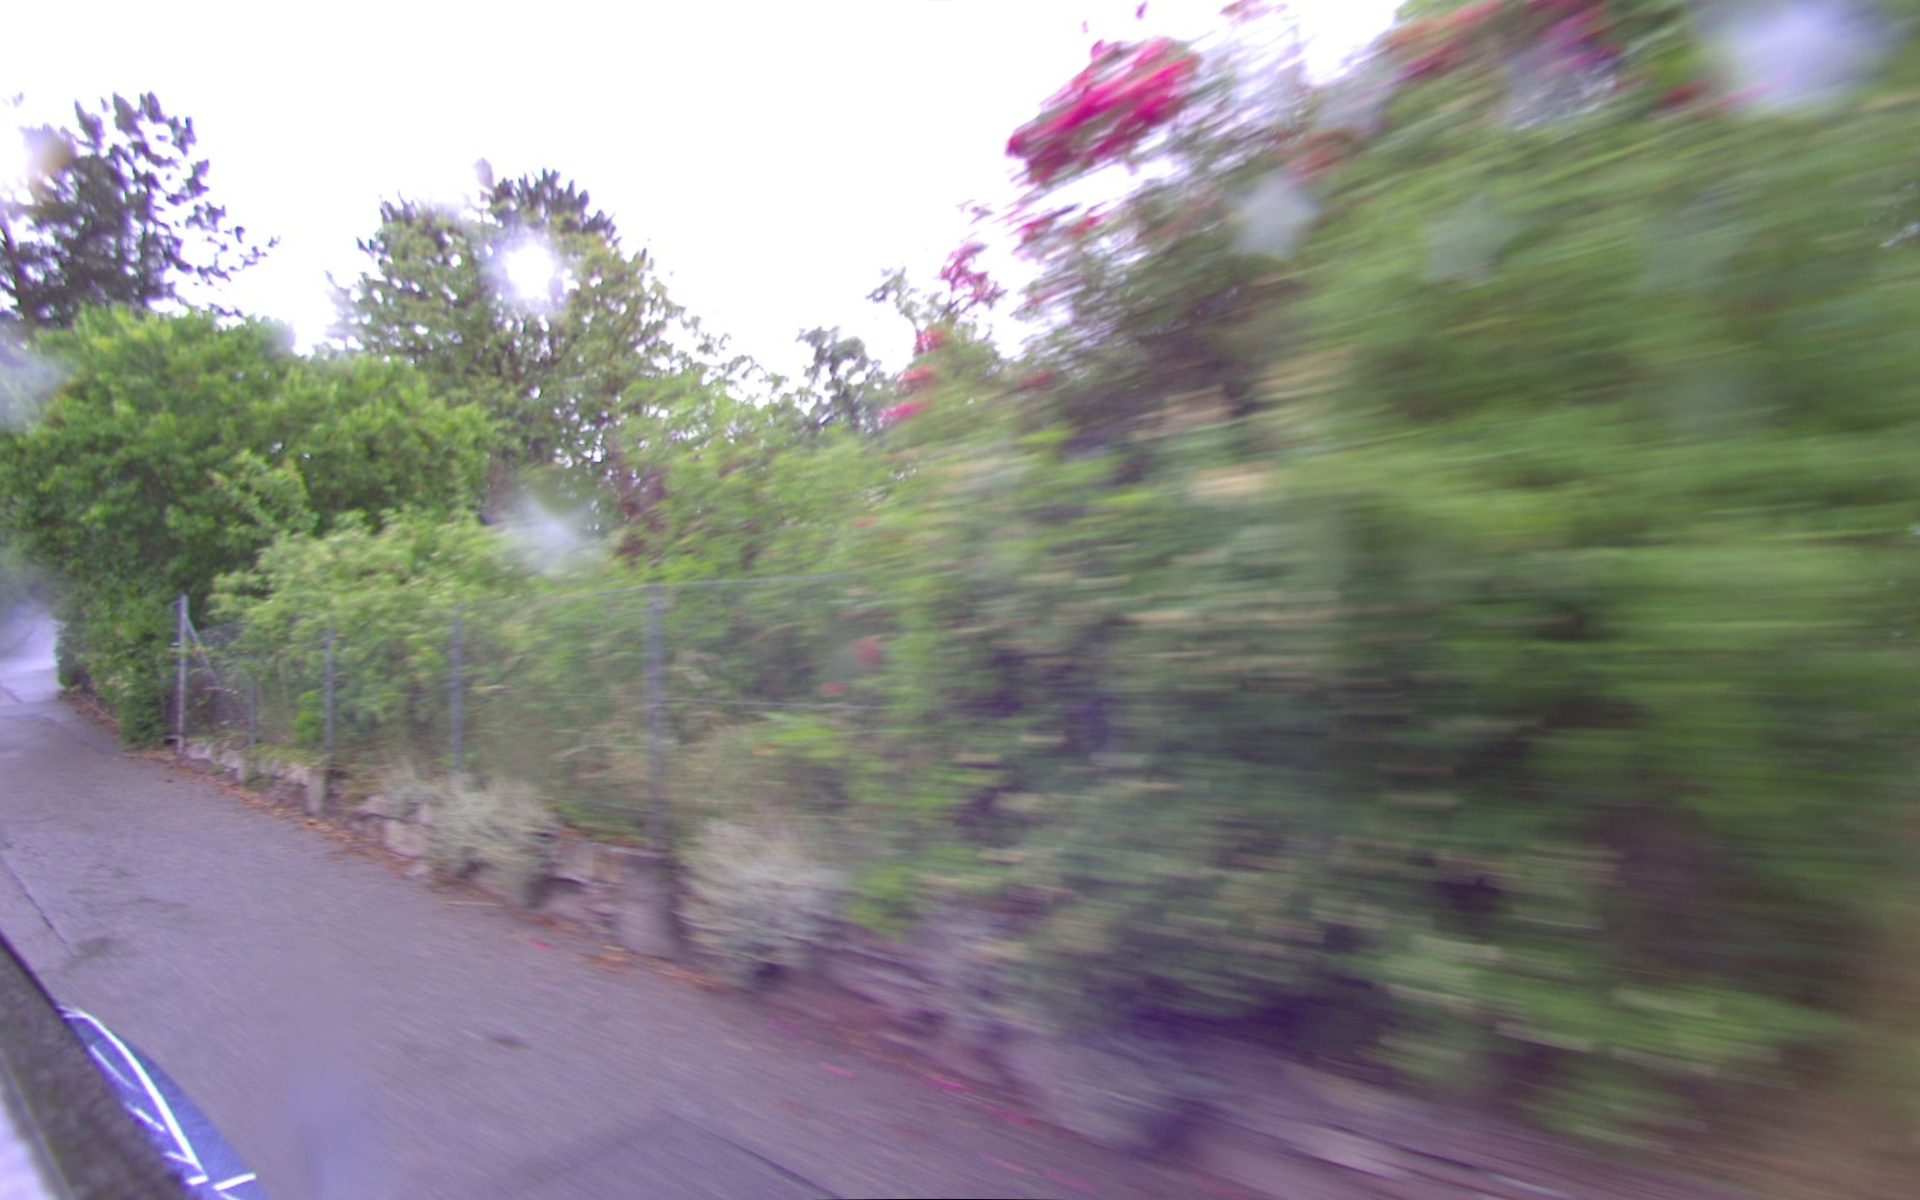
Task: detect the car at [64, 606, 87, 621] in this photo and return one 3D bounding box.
[{"bbox_3d":[-98.705,1.521,112.898,1.899,1.633,4.467,1,-3,-42],"label":"car"}]
